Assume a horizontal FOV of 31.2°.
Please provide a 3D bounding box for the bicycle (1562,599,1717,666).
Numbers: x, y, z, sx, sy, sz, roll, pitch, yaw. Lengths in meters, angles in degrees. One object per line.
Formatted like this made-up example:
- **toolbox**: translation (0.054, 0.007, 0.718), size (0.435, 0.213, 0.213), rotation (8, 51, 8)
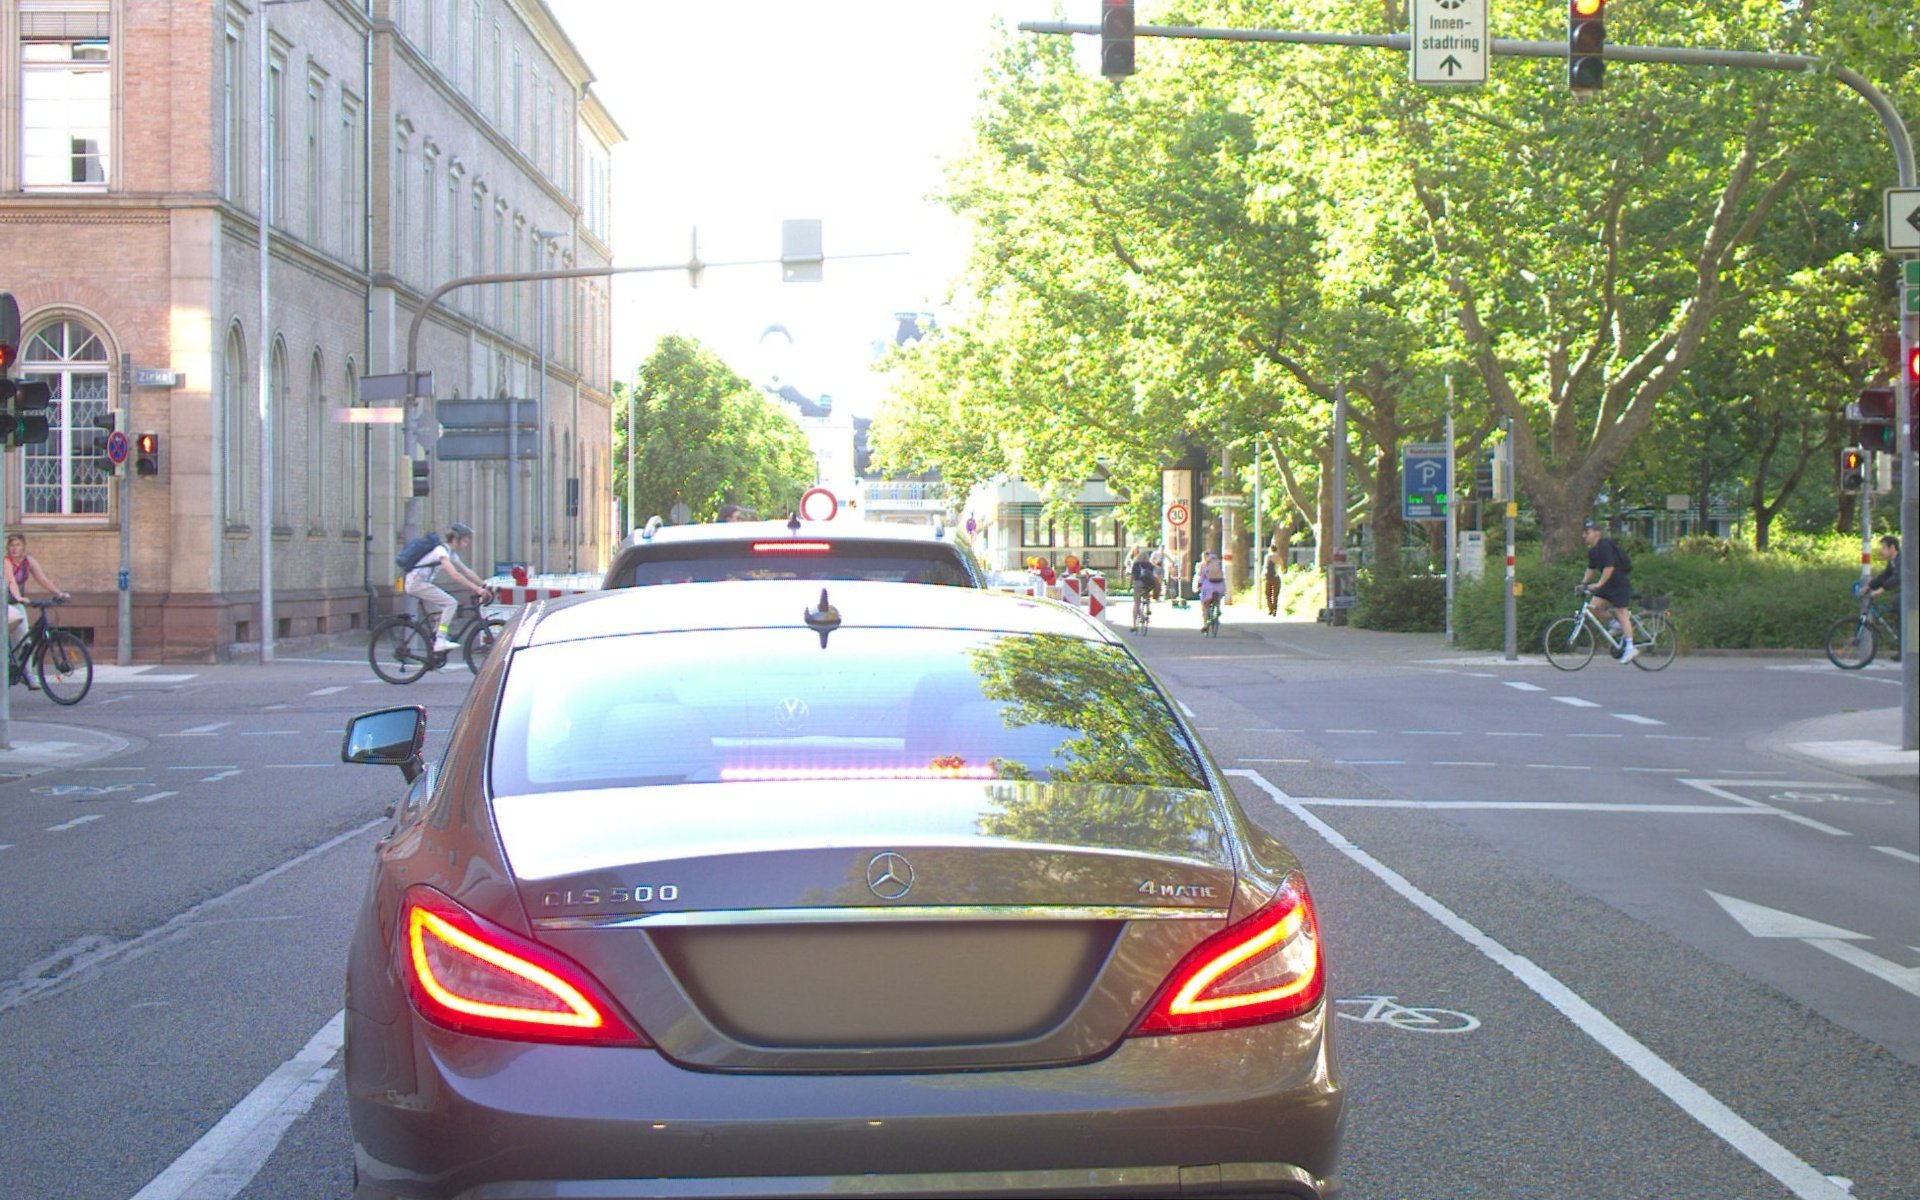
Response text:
- **bicycle**: translation (8.648, 0.409, 43.751), size (1.891, 0.834, 0.458), rotation (0, 1, -8)

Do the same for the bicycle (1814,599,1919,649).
- **bicycle**: translation (11.839, 0.306, 44.206), size (1.587, 0.632, 0.496), rotation (0, 1, 3)

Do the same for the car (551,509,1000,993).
- **car**: translation (-0.719, 0.486, 13.690), size (1.517, 1.641, 3.881), rotation (1, 1, -3)

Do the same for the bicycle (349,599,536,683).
- **bicycle**: translation (-5.582, 0.438, 37.140), size (1.893, 0.879, 0.725), rotation (0, 1, 4)

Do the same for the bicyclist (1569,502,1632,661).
- **bicyclist**: translation (8.135, -0.240, 43.696), size (0.652, 2.007, 0.440), rotation (0, 1, -15)

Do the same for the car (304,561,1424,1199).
- **car**: translation (-0.425, 0.653, 7.672), size (1.803, 1.451, 4.352), rotation (0, 1, -8)

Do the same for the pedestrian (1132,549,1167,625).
- **pedestrian**: translation (3.719, -0.262, 67.590), size (0.648, 1.498, 0.637), rotation (0, 1, -1)

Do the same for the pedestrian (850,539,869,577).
- **pedestrian**: translation (-4.174, -1.753, 142.902), size (0.801, 1.571, 0.845), rotation (0, 1, -1)

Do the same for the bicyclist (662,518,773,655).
- **bicyclist**: translation (-2.485, -0.141, 35.348), size (1.103, 1.398, 0.657), rotation (0, 1, -1)

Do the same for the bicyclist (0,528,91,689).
- **bicyclist**: translation (-9.242, 0.075, 34.191), size (0.981, 1.572, 0.686), rotation (1, 1, 36)

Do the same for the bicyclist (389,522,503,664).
- **bicyclist**: translation (-5.547, -0.085, 37.134), size (1.075, 1.514, 0.716), rotation (0, 1, 5)

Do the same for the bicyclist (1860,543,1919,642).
- **bicyclist**: translation (11.973, -0.098, 44.176), size (0.704, 1.256, 0.457), rotation (0, 1, 3)

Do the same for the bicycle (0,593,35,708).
- **bicycle**: translation (-9.837, 0.467, 32.888), size (1.833, 1.075, 0.864), rotation (1, 1, 30)

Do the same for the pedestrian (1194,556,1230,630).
- **pedestrian**: translation (4.910, -0.138, 67.098), size (0.648, 1.428, 0.659), rotation (0, 1, -1)

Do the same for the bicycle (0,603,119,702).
- **bicycle**: translation (-9.255, 0.509, 34.209), size (1.861, 0.926, 0.694), rotation (1, 1, 36)

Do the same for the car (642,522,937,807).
- **car**: translation (-1.075, 0.366, 23.270), size (1.820, 1.756, 4.000), rotation (0, 1, -1)

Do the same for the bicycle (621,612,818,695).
- **bicycle**: translation (-2.460, 0.544, 35.348), size (1.974, 0.834, 0.677), rotation (0, 1, 1)
